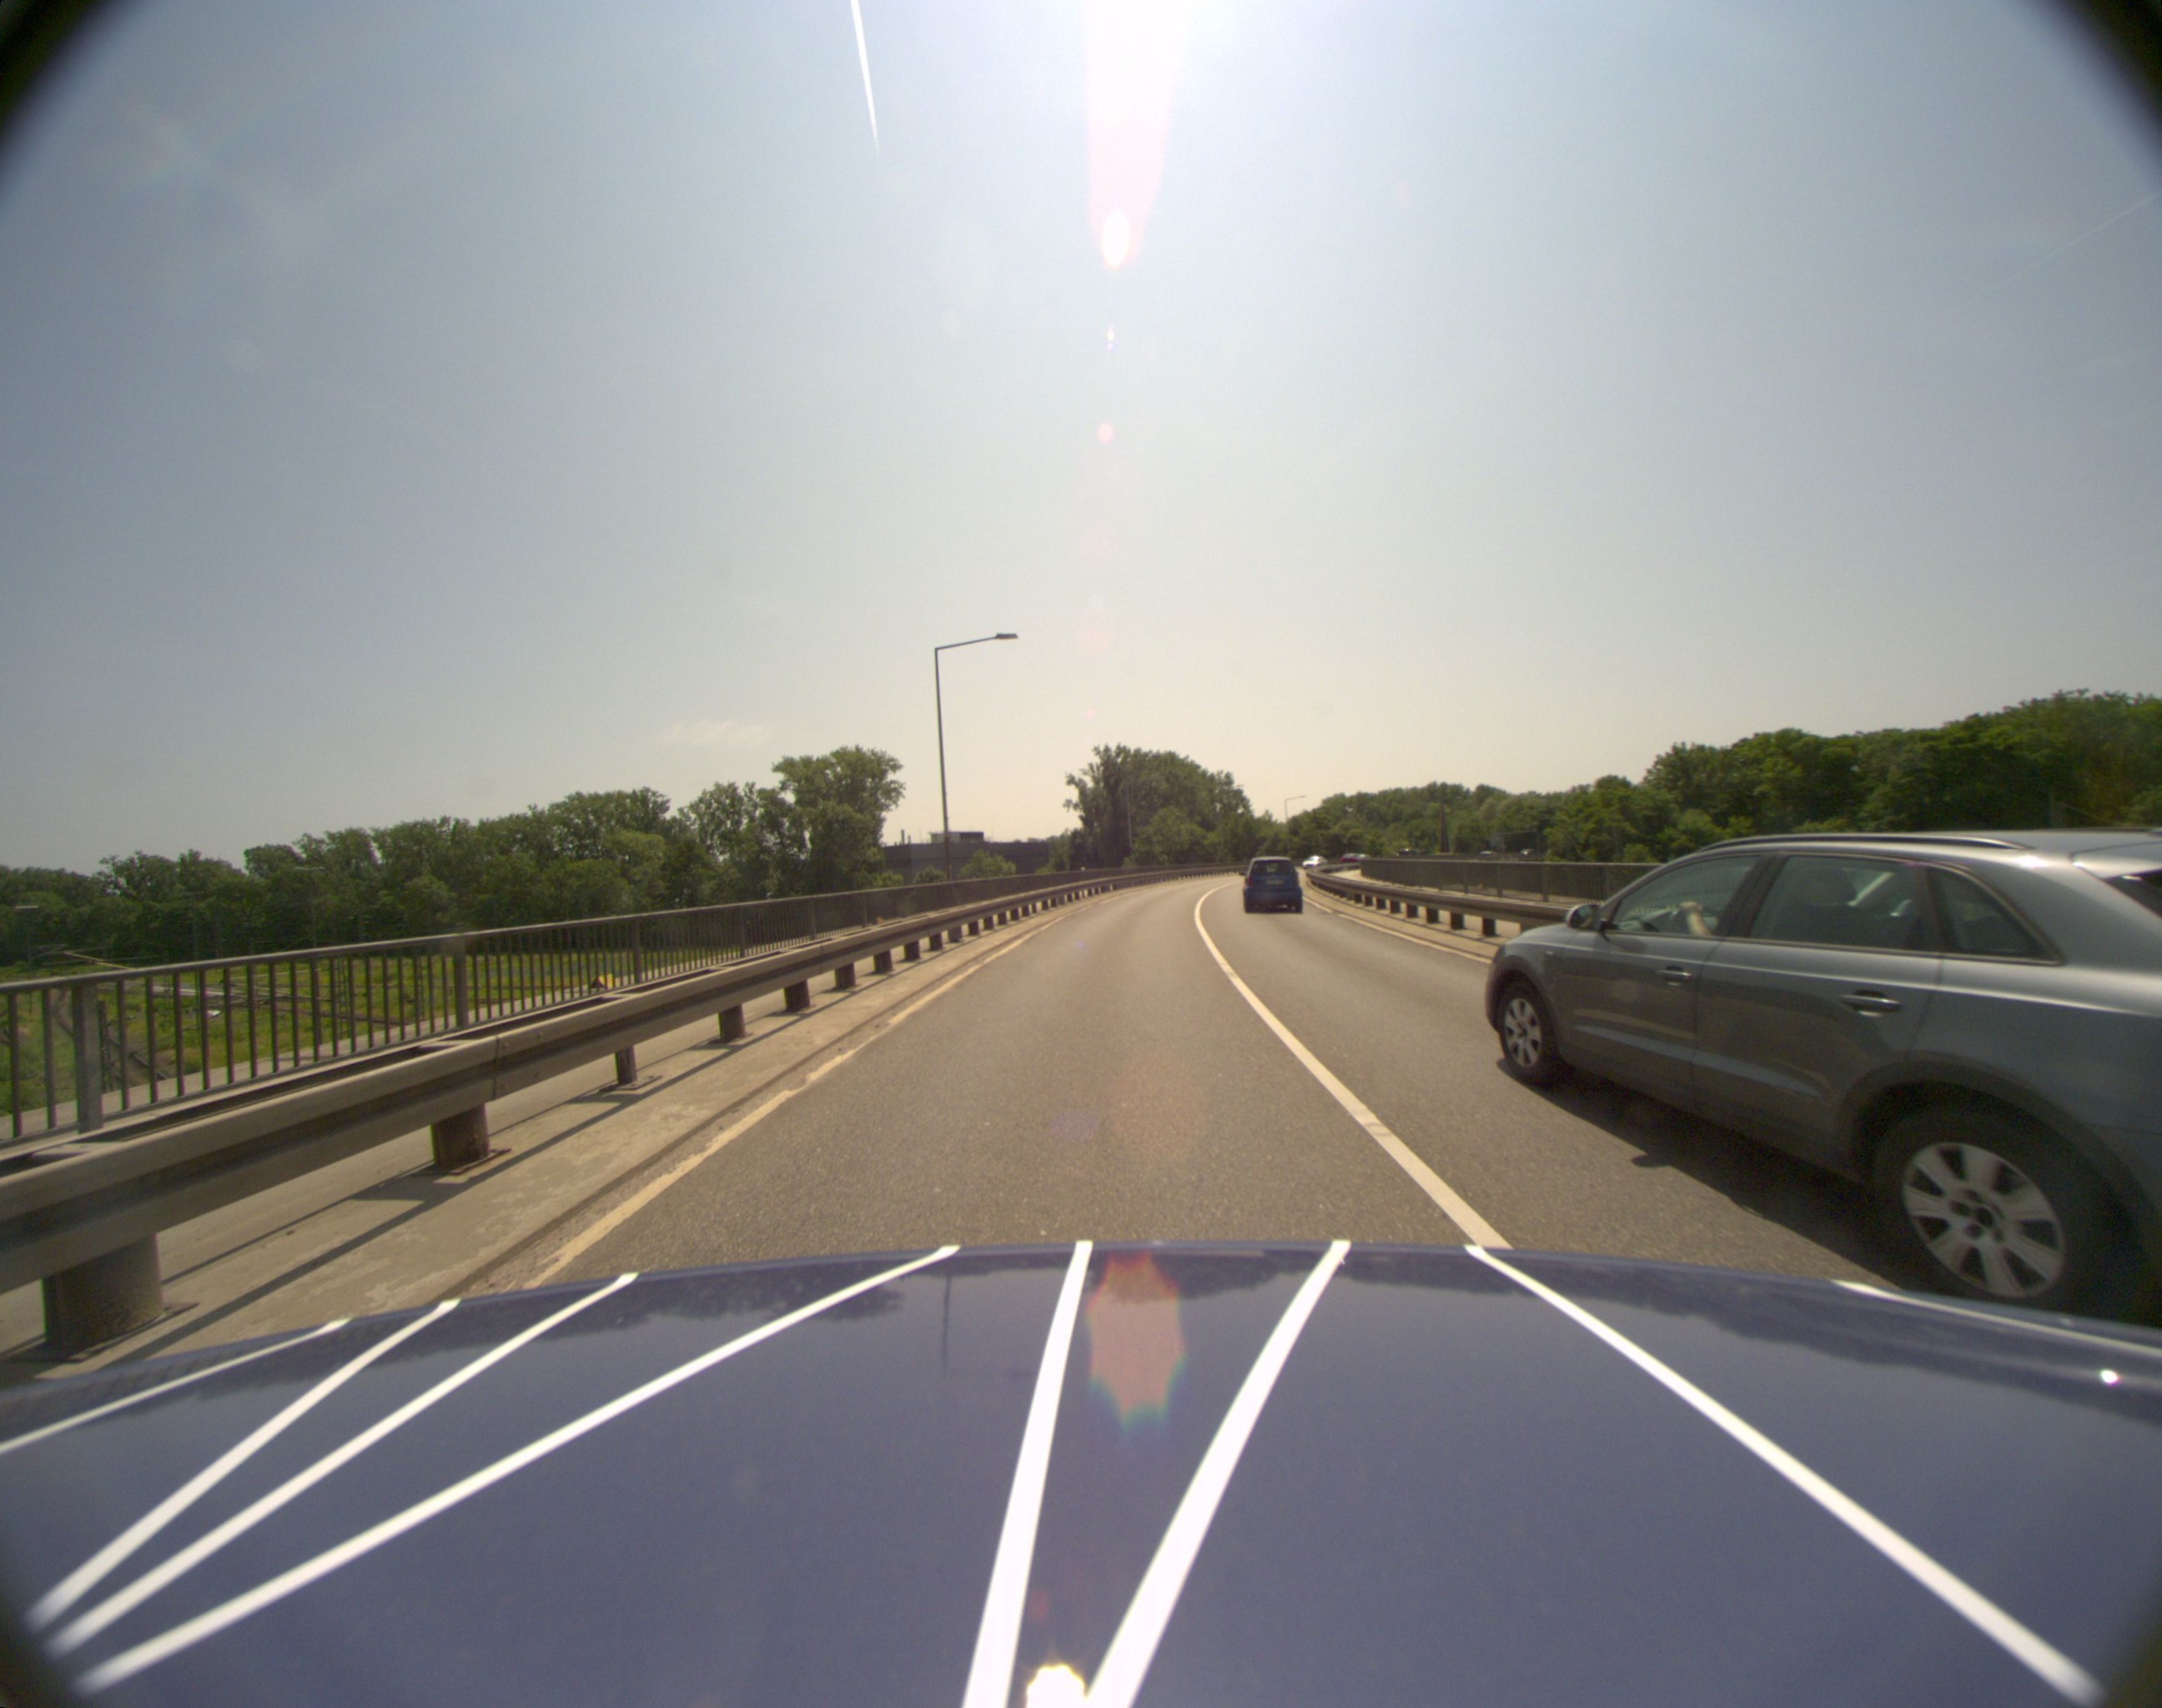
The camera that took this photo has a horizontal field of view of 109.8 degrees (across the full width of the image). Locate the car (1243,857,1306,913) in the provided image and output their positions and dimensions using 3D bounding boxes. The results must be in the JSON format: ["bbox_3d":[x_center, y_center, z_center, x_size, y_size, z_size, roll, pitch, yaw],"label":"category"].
[{"bbox_3d":[5.618,0.867,21.946,1.599,1.477,2.751,-2,-1,16],"label":"car"}]

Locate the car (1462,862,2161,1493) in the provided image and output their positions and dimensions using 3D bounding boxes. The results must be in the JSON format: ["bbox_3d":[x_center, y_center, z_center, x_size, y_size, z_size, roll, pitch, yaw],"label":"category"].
[{"bbox_3d":[3.622,0.829,3.350,1.827,1.527,4.196,-2,-1,2],"label":"car"}]

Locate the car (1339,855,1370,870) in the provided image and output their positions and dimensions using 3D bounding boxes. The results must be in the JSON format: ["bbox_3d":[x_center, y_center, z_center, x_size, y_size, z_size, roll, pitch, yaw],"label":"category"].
[{"bbox_3d":[30.272,0.902,83.947,1.893,1.586,4.496,-2,-1,37],"label":"car"}]

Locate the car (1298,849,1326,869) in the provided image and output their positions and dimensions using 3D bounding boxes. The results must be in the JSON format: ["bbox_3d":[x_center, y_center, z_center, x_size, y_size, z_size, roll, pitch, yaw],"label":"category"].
[{"bbox_3d":[25.422,0.546,83.488,1.995,2.001,4.008,-2,-1,29],"label":"car"}]

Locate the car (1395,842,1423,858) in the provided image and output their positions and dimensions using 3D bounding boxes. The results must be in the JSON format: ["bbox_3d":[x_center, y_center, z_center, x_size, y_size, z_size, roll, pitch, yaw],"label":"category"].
[{"bbox_3d":[44.223,-0.559,102.386,2.008,1.947,5.282,-1,0,41],"label":"car"}]
